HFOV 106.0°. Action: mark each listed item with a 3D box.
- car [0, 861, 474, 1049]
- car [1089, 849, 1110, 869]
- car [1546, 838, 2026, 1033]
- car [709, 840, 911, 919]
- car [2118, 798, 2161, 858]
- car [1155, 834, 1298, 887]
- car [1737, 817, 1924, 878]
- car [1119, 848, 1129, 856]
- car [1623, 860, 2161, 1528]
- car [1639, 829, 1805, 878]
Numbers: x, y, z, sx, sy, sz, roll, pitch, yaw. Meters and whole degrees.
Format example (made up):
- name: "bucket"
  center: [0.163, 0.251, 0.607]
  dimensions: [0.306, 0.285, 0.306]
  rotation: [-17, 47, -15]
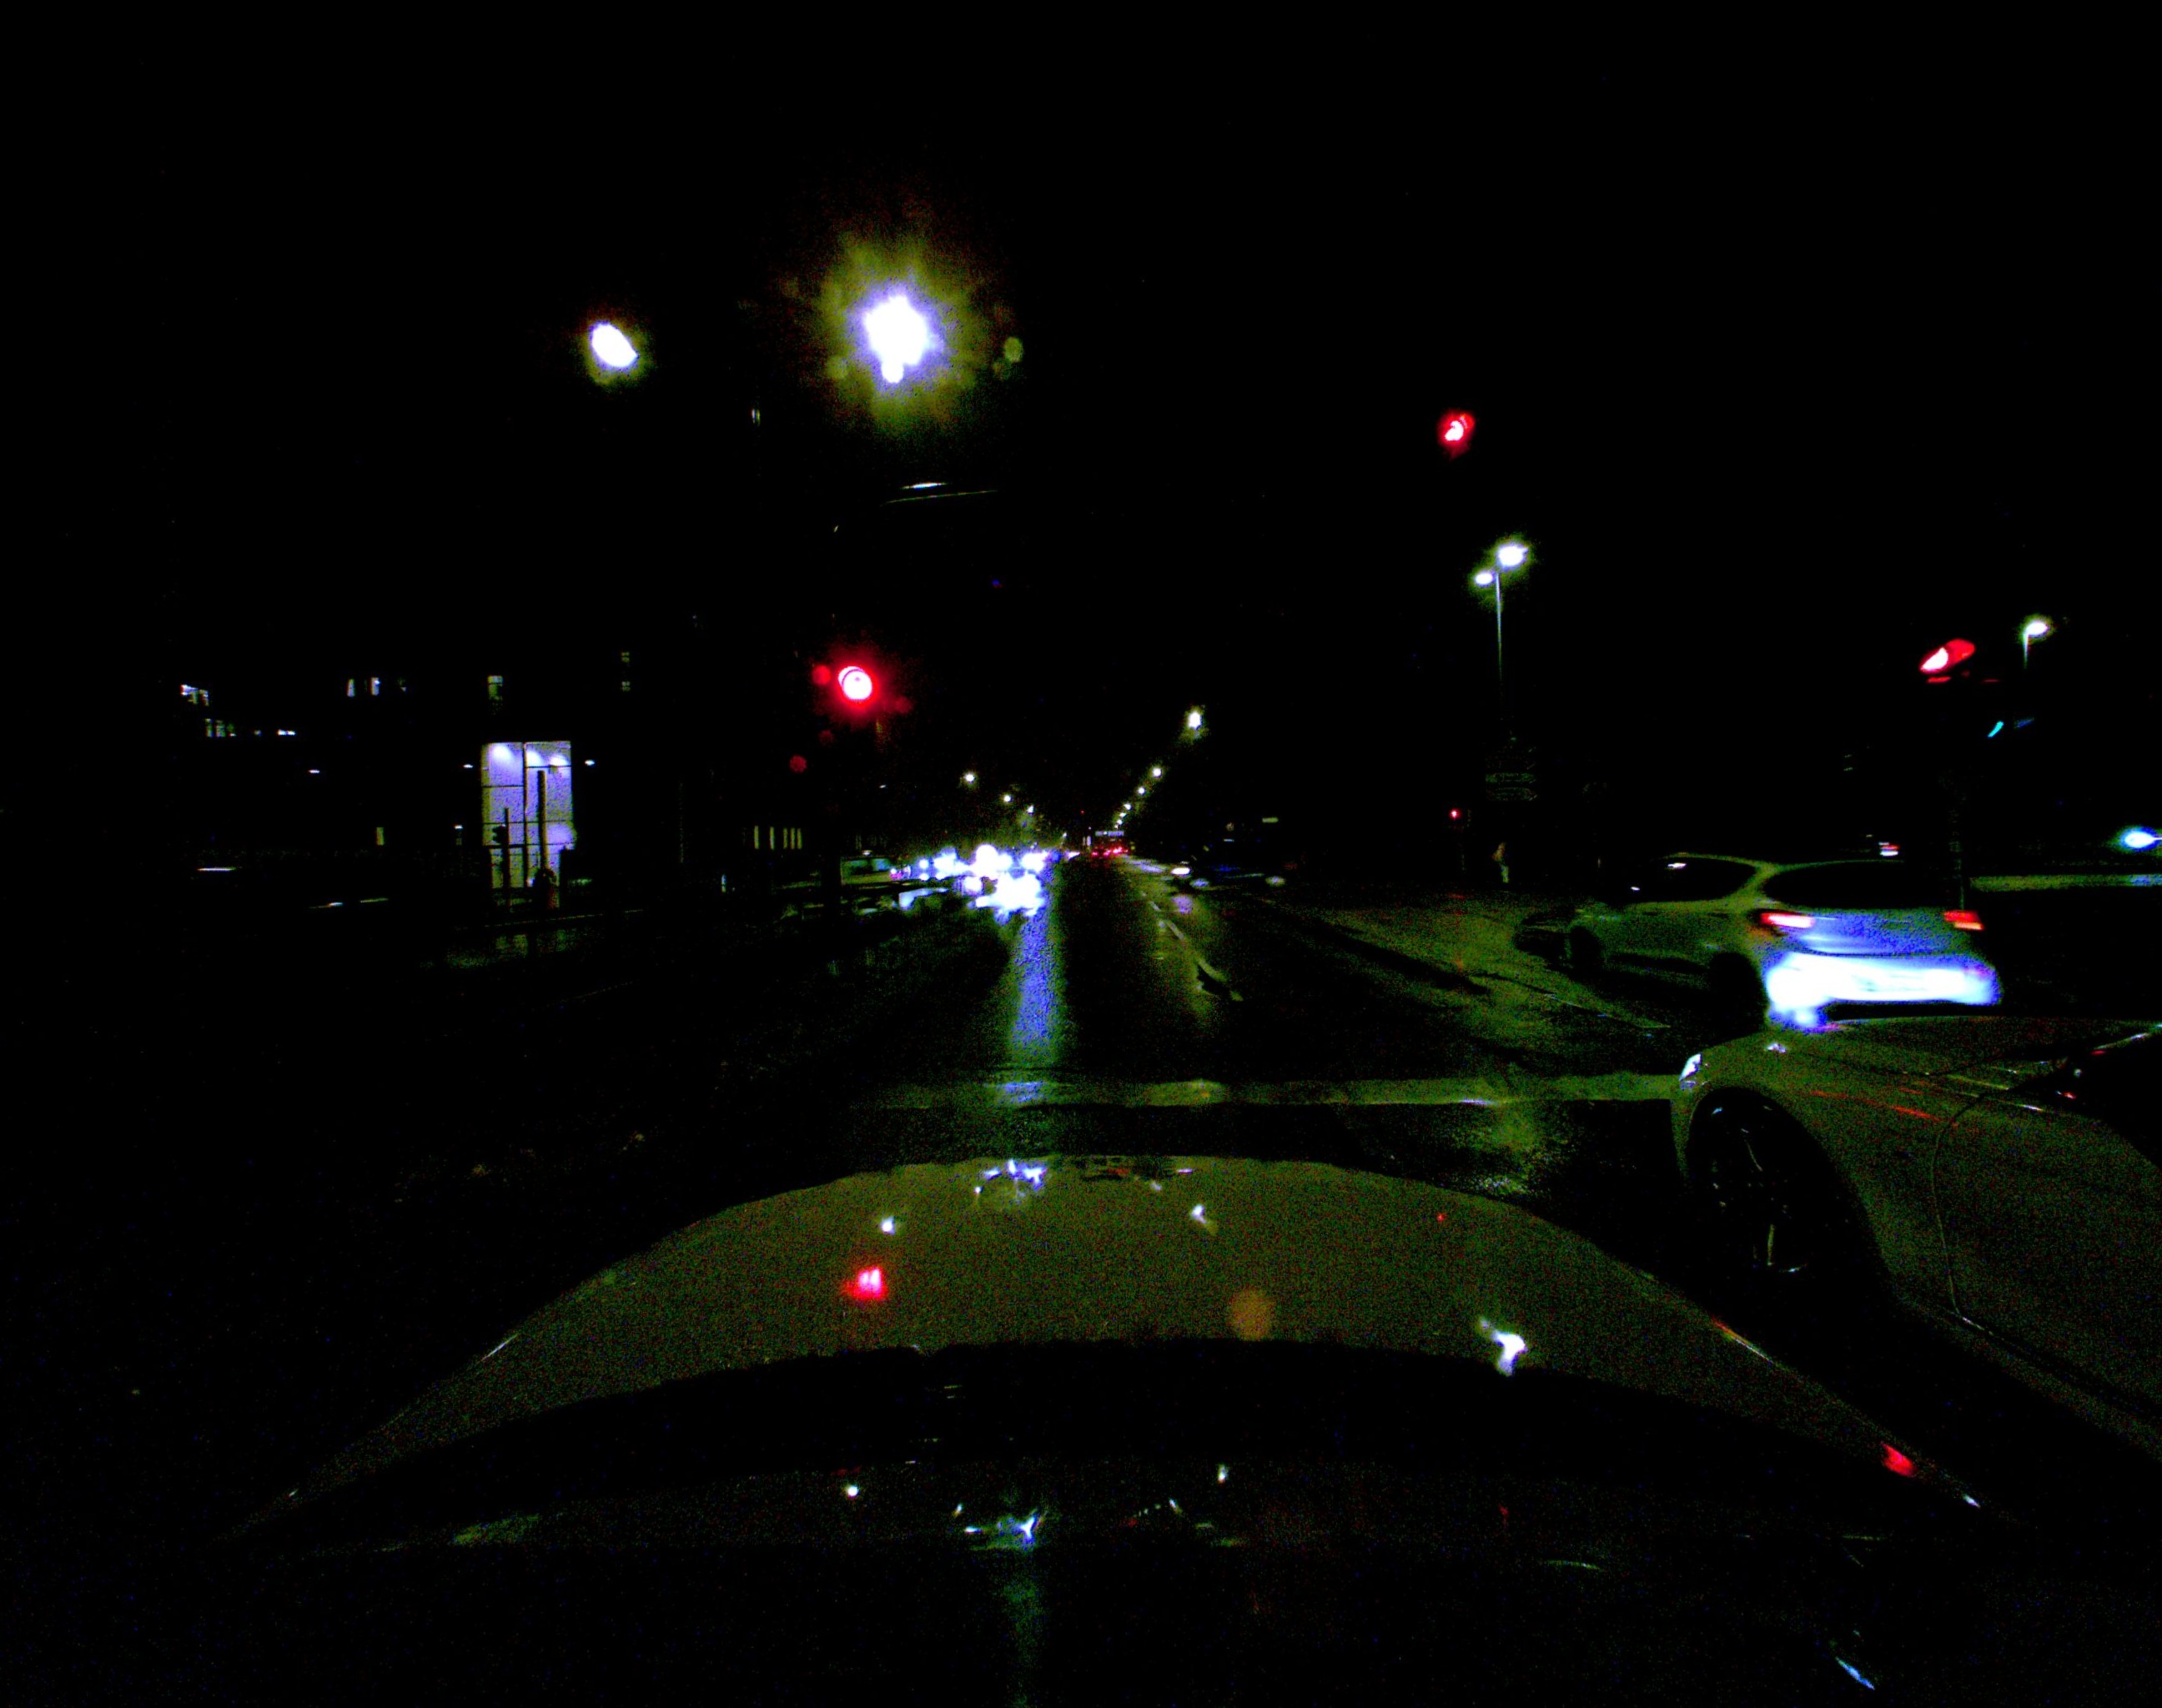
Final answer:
- name: "car"
  center: [-10.549, 0.963, 9.969]
  dimensions: [1.952, 1.741, 4.934]
  rotation: [0, -1, 11]
- name: "car"
  center: [1.912, 0.504, 86.387]
  dimensions: [1.988, 2.014, 4.629]
  rotation: [0, -1, -1]
- name: "car"
  center: [6.326, 0.625, 7.924]
  dimensions: [1.627, 1.459, 3.595]
  rotation: [0, -1, 2]
- name: "car"
  center: [-6.657, 0.574, 20.328]
  dimensions: [1.886, 1.741, 4.424]
  rotation: [-1, -1, 43]
- name: "car"
  center: [38.087, -0.927, 26.796]
  dimensions: [5.069, 1.984, 2.003]
  rotation: [-2, 0, 4]
- name: "car"
  center: [4.958, 0.222, 28.042]
  dimensions: [4.488, 1.749, 1.854]
  rotation: [0, -1, -8]
- name: "car"
  center: [28.025, -0.223, 30.606]
  dimensions: [4.890, 2.145, 2.144]
  rotation: [0, -1, 4]
- name: "car"
  center: [9.475, -0.467, 178.820]
  dimensions: [1.986, 1.759, 4.001]
  rotation: [0, -1, 2]
- name: "car"
  center: [3.126, 0.716, 1.316]
  dimensions: [1.710, 1.404, 4.351]
  rotation: [0, 0, 2]
- name: "car"
  center: [21.941, 0.031, 28.025]
  dimensions: [4.044, 1.588, 1.916]
  rotation: [0, -3, 8]
